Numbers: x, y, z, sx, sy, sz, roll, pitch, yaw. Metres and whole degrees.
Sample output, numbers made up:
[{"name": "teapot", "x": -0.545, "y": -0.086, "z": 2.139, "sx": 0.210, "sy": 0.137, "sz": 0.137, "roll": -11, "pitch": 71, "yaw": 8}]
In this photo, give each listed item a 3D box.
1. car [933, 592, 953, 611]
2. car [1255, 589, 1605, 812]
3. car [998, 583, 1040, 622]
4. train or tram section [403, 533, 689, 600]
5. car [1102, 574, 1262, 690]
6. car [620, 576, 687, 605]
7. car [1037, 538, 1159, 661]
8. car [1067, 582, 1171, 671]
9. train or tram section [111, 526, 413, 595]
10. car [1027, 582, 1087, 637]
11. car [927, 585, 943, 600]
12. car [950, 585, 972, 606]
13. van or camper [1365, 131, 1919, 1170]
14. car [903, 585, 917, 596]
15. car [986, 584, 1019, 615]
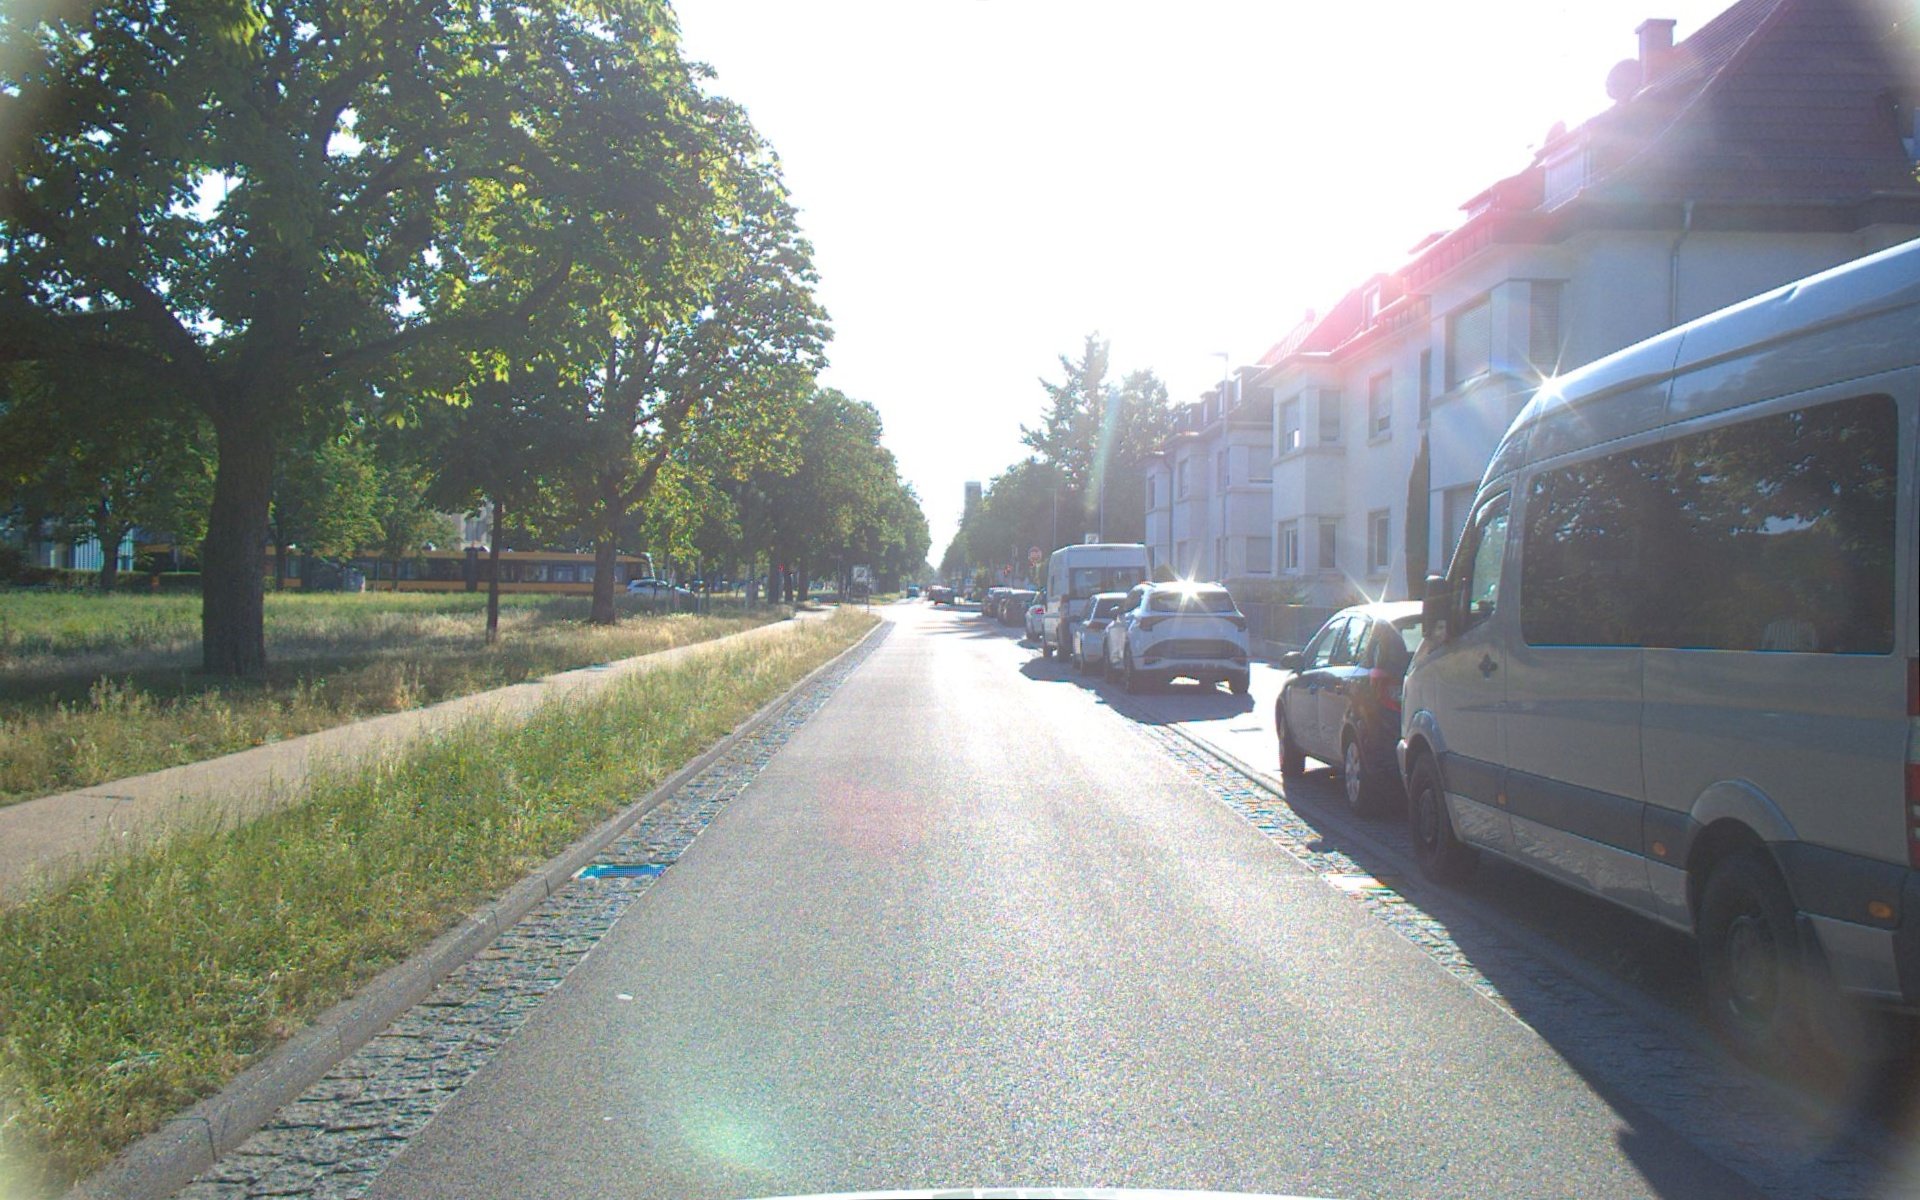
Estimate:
[{"name": "car", "x": -1.459, "y": 0.104, "z": 143.405, "sx": 1.616, "sy": 1.557, "sz": 3.851, "roll": -1, "pitch": 1, "yaw": 0}, {"name": "car", "x": 3.562, "y": 0.681, "z": 13.270, "sx": 1.588, "sy": 1.435, "sz": 3.968, "roll": -3, "pitch": 0, "yaw": -1}, {"name": "car", "x": 2.446, "y": 0.067, "z": 69.139, "sx": 1.616, "sy": 1.557, "sz": 3.851, "roll": -1, "pitch": 1, "yaw": 0}, {"name": "train or tram section", "x": -29.207, "y": -2.340, "z": 117.883, "sx": 19.418, "sy": 4.025, "sz": 3.636, "roll": 2, "pitch": 0, "yaw": -9}, {"name": "car", "x": 3.401, "y": 0.435, "z": 26.036, "sx": 1.800, "sy": 1.664, "sz": 4.129, "roll": -1, "pitch": 1, "yaw": -2}, {"name": "car", "x": -20.351, "y": -0.622, "z": 109.906, "sx": 4.266, "sy": 1.795, "sz": 1.996, "roll": 2, "pitch": 0, "yaw": -10}, {"name": "car", "x": 3.026, "y": -0.052, "z": 37.411, "sx": 2.084, "sy": 2.577, "sz": 5.186, "roll": -1, "pitch": 1, "yaw": -3}, {"name": "car", "x": 2.961, "y": 0.456, "z": 31.441, "sx": 1.616, "sy": 1.557, "sz": 3.851, "roll": -1, "pitch": 1, "yaw": 0}, {"name": "train or tram section", "x": -48.067, "y": -2.664, "z": 114.626, "sx": 18.724, "sy": 4.025, "sz": 3.635, "roll": 2, "pitch": 0, "yaw": -10}, {"name": "car", "x": 2.901, "y": 0.250, "z": 50.102, "sx": 1.616, "sy": 1.557, "sz": 3.851, "roll": -1, "pitch": 1, "yaw": 0}, {"name": "car", "x": -2.718, "y": -0.816, "z": 177.166, "sx": 1.616, "sy": 1.557, "sz": 3.851, "roll": -1, "pitch": 1, "yaw": 0}, {"name": "car", "x": 0.088, "y": -0.332, "z": 124.973, "sx": 1.616, "sy": 1.557, "sz": 3.851, "roll": -1, "pitch": 1, "yaw": 0}, {"name": "van or camper", "x": 3.531, "y": 0.151, "z": 7.296, "sx": 1.904, "sy": 2.826, "sz": 5.938, "roll": 2, "pitch": 0, "yaw": -1}, {"name": "car", "x": -7.020, "y": -1.342, "z": 231.897, "sx": 1.773, "sy": 1.557, "sz": 3.851, "roll": -1, "pitch": 1, "yaw": 0}, {"name": "car", "x": 2.203, "y": -0.051, "z": 86.174, "sx": 1.616, "sy": 1.557, "sz": 3.851, "roll": -1, "pitch": 1, "yaw": 0}]
